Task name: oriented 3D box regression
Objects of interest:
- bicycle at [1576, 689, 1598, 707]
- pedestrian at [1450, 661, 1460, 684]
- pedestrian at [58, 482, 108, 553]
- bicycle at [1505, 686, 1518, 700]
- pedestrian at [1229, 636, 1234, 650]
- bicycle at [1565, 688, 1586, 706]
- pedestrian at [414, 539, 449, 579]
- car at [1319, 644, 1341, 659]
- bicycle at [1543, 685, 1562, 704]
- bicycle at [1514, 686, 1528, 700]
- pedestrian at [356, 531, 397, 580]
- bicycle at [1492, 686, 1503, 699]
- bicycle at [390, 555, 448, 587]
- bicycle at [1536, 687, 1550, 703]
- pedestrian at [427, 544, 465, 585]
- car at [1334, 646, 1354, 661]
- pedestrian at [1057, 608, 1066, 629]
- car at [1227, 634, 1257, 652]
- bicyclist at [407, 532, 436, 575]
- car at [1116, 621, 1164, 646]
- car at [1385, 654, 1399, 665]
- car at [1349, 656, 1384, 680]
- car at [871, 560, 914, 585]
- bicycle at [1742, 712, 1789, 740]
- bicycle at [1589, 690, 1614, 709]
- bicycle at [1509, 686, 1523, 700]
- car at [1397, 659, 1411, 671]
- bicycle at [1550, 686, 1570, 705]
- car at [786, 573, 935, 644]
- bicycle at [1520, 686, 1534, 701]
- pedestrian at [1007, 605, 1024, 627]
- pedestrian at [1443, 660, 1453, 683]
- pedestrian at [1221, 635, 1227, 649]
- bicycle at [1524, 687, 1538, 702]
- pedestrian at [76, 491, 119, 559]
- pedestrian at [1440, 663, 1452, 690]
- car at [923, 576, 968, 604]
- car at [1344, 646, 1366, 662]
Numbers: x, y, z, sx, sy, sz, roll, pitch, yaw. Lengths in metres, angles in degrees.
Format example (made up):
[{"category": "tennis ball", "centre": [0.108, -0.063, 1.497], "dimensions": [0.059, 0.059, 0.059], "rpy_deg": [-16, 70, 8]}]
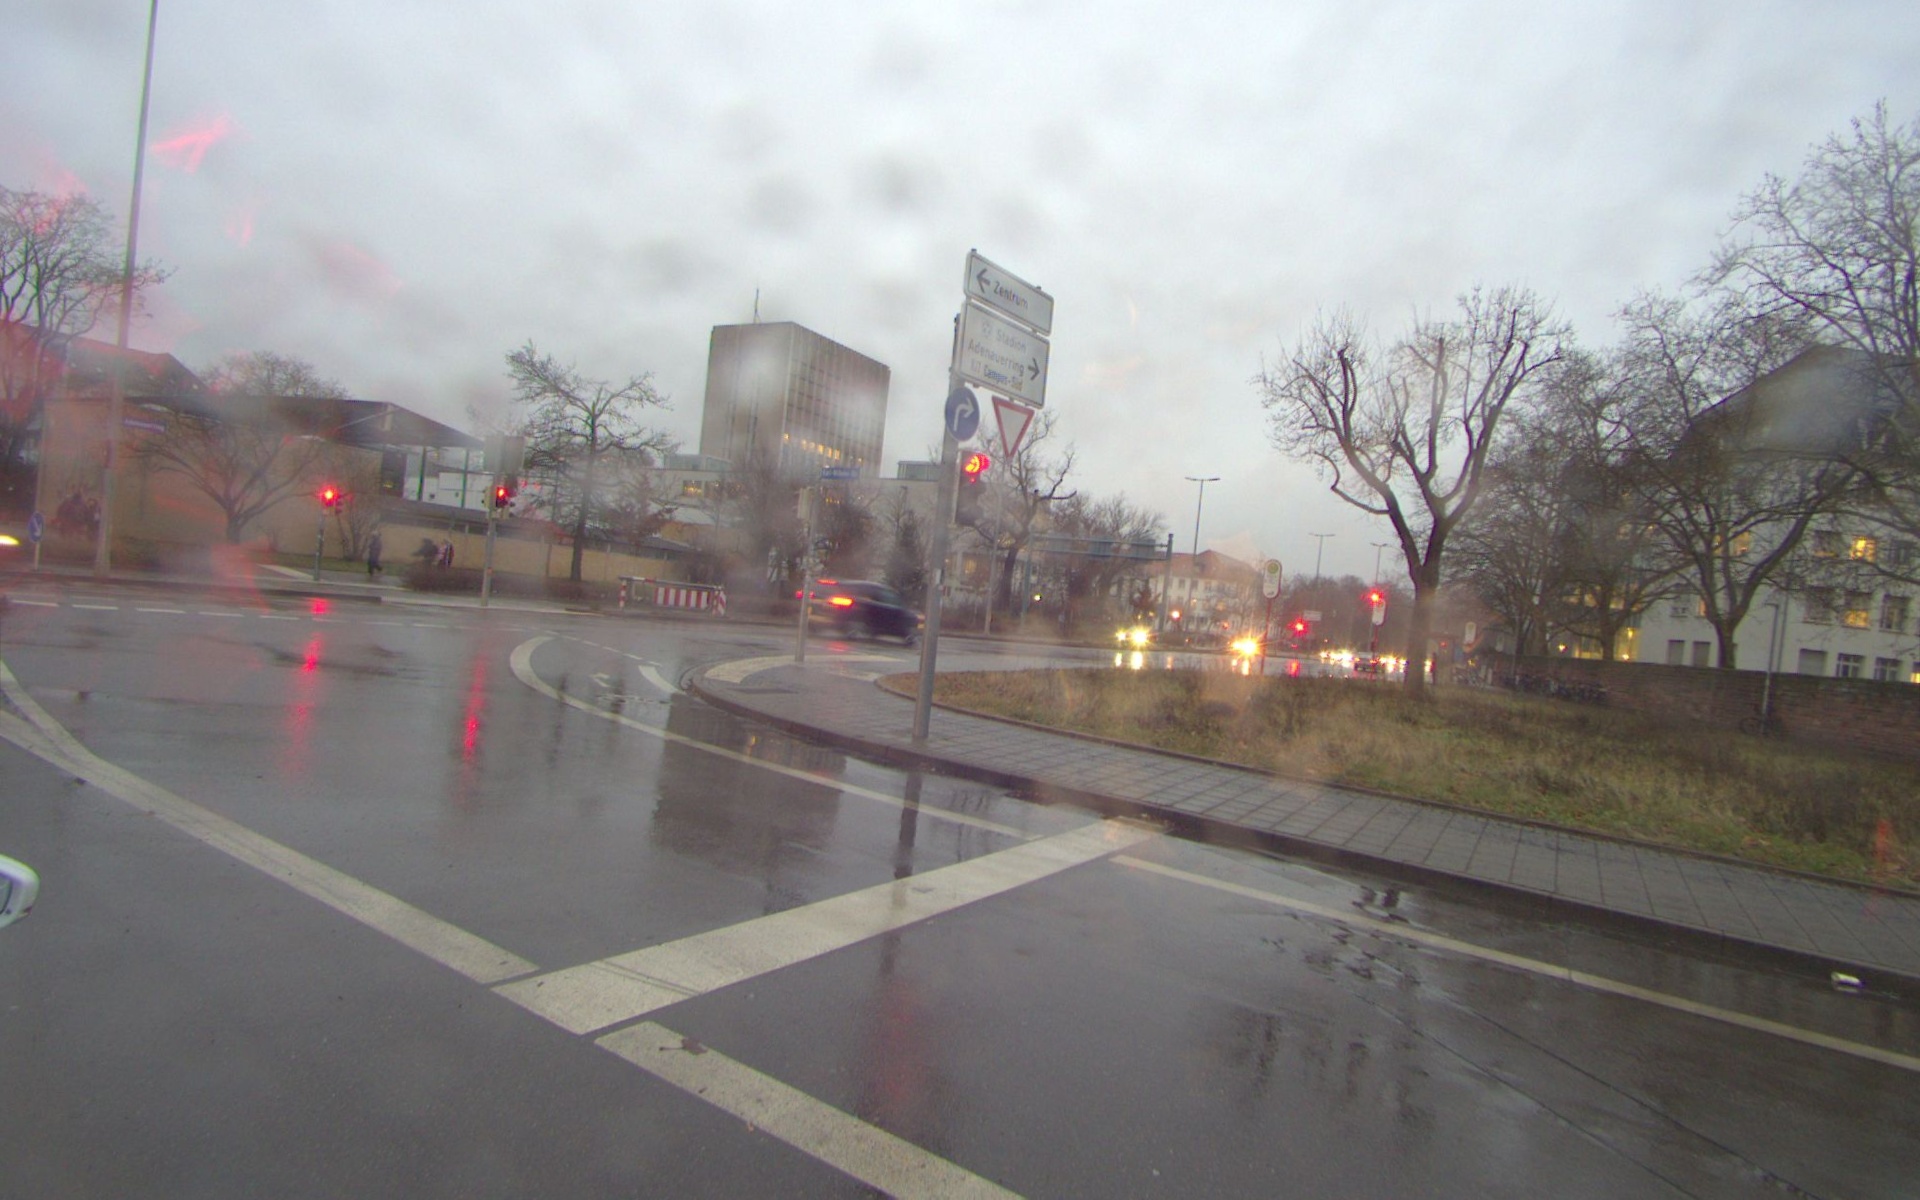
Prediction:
[{"category": "bicycle", "centre": [30.547, 4.771, 48.998], "dimensions": [0.387, 0.795, 1.533], "rpy_deg": [7, -2, 14]}, {"category": "pedestrian", "centre": [45.036, 6.583, 91.485], "dimensions": [0.557, 2.040, 0.595], "rpy_deg": [8, 2, 33]}, {"category": "pedestrian", "centre": [-28.562, -2.683, 32.772], "dimensions": [0.871, 2.141, 0.893], "rpy_deg": [7, 2, 32]}, {"category": "bicycle", "centre": [34.850, 5.869, 63.623], "dimensions": [0.387, 0.795, 1.532], "rpy_deg": [7, -2, 20]}, {"category": "pedestrian", "centre": [34.151, 5.449, 126.518], "dimensions": [0.404, 1.713, 0.427], "rpy_deg": [7, 2, 28]}, {"category": "bicycle", "centre": [31.036, 4.878, 50.742], "dimensions": [0.343, 0.848, 1.493], "rpy_deg": [7, -2, 13]}, {"category": "pedestrian", "centre": [-22.389, -1.738, 42.616], "dimensions": [0.871, 1.553, 0.893], "rpy_deg": [7, 2, 32]}, {"category": "car", "centre": [49.292, 6.866, 134.144], "dimensions": [1.966, 1.783, 3.992], "rpy_deg": [7, 1, 29]}, {"category": "bicycle", "centre": [31.840, 5.077, 54.085], "dimensions": [0.387, 0.927, 1.532], "rpy_deg": [7, -2, 15]}, {"category": "bicycle", "centre": [33.828, 5.617, 60.661], "dimensions": [0.387, 0.795, 1.532], "rpy_deg": [7, -2, 20]}, {"category": "pedestrian", "centre": [-23.602, -1.786, 40.687], "dimensions": [0.904, 1.823, 0.997], "rpy_deg": [7, 2, 32]}, {"category": "bicycle", "centre": [36.390, 6.250, 68.104], "dimensions": [0.387, 0.795, 1.532], "rpy_deg": [7, -2, 20]}, {"category": "bicycle", "centre": [-21.479, -1.152, 39.956], "dimensions": [0.649, 1.061, 1.882], "rpy_deg": [8, 1, 36]}, {"category": "bicycle", "centre": [32.412, 5.293, 55.950], "dimensions": [0.387, 0.795, 1.607], "rpy_deg": [7, -2, 22]}, {"category": "pedestrian", "centre": [-21.458, -1.487, 41.995], "dimensions": [1.025, 1.553, 0.925], "rpy_deg": [7, 2, 32]}, {"category": "car", "centre": [53.739, 7.458, 140.681], "dimensions": [1.966, 1.783, 3.992], "rpy_deg": [7, 1, 29]}, {"category": "pedestrian", "centre": [8.918, 1.623, 88.053], "dimensions": [0.411, 1.725, 0.430], "rpy_deg": [8, 3, 44]}, {"category": "car", "centre": [28.557, 4.388, 101.822], "dimensions": [1.781, 1.496, 4.417], "rpy_deg": [6, 0, 31]}, {"category": "bicyclist", "centre": [-21.395, -1.837, 39.937], "dimensions": [0.649, 1.620, 0.684], "rpy_deg": [8, 2, 36]}, {"category": "car", "centre": [12.914, 2.395, 72.018], "dimensions": [1.781, 1.496, 4.417], "rpy_deg": [6, 0, 31]}, {"category": "car", "centre": [68.542, 9.362, 159.612], "dimensions": [1.745, 1.495, 3.915], "rpy_deg": [7, 1, 27]}, {"category": "car", "centre": [33.738, 5.626, 83.425], "dimensions": [1.811, 1.710, 4.311], "rpy_deg": [6, 0, 32]}, {"category": "car", "centre": [-7.121, -2.915, 106.422], "dimensions": [2.014, 2.102, 4.892], "rpy_deg": [6, 0, 30]}, {"category": "bicycle", "centre": [28.199, 4.402, 35.223], "dimensions": [0.387, 0.834, 1.386], "rpy_deg": [7, -2, -4]}, {"category": "bicycle", "centre": [30.273, 4.675, 47.474], "dimensions": [0.352, 0.795, 1.415], "rpy_deg": [7, -2, 8]}, {"category": "bicycle", "centre": [34.349, 5.744, 62.149], "dimensions": [0.387, 0.795, 1.532], "rpy_deg": [7, -2, 20]}, {"category": "car", "centre": [80.076, 11.685, 181.399], "dimensions": [1.965, 1.783, 3.993], "rpy_deg": [7, 1, 27]}, {"category": "bicycle", "centre": [31.355, 4.982, 52.554], "dimensions": [0.387, 0.868, 1.532], "rpy_deg": [7, -2, 15]}, {"category": "car", "centre": [-2.857, 0.300, 29.722], "dimensions": [1.814, 1.710, 4.305], "rpy_deg": [6, 0, 38]}, {"category": "bicycle", "centre": [33.322, 5.490, 59.142], "dimensions": [0.387, 0.795, 1.532], "rpy_deg": [7, -2, 20]}, {"category": "pedestrian", "centre": [4.388, 1.303, 79.803], "dimensions": [0.783, 1.624, 0.960], "rpy_deg": [8, 2, 39]}, {"category": "pedestrian", "centre": [44.521, 6.528, 91.823], "dimensions": [0.557, 2.040, 0.595], "rpy_deg": [8, 2, 33]}, {"category": "pedestrian", "centre": [32.974, 5.255, 125.665], "dimensions": [0.404, 1.713, 0.561], "rpy_deg": [7, 2, 28]}, {"category": "bicycle", "centre": [32.839, 5.407, 57.864], "dimensions": [0.387, 0.795, 1.532], "rpy_deg": [7, -2, 19]}, {"category": "pedestrian", "centre": [-28.997, -2.525, 33.820], "dimensions": [0.874, 2.141, 0.890], "rpy_deg": [8, 2, 44]}, {"category": "pedestrian", "centre": [30.151, 4.736, 62.416], "dimensions": [0.462, 1.623, 0.486], "rpy_deg": [7, -1, 25]}, {"category": "car", "centre": [-1.447, -0.999, 103.039], "dimensions": [2.014, 2.452, 5.326], "rpy_deg": [6, 0, 30]}, {"category": "car", "centre": [51.650, 7.074, 131.488], "dimensions": [1.966, 1.783, 3.992], "rpy_deg": [7, 1, 29]}]
